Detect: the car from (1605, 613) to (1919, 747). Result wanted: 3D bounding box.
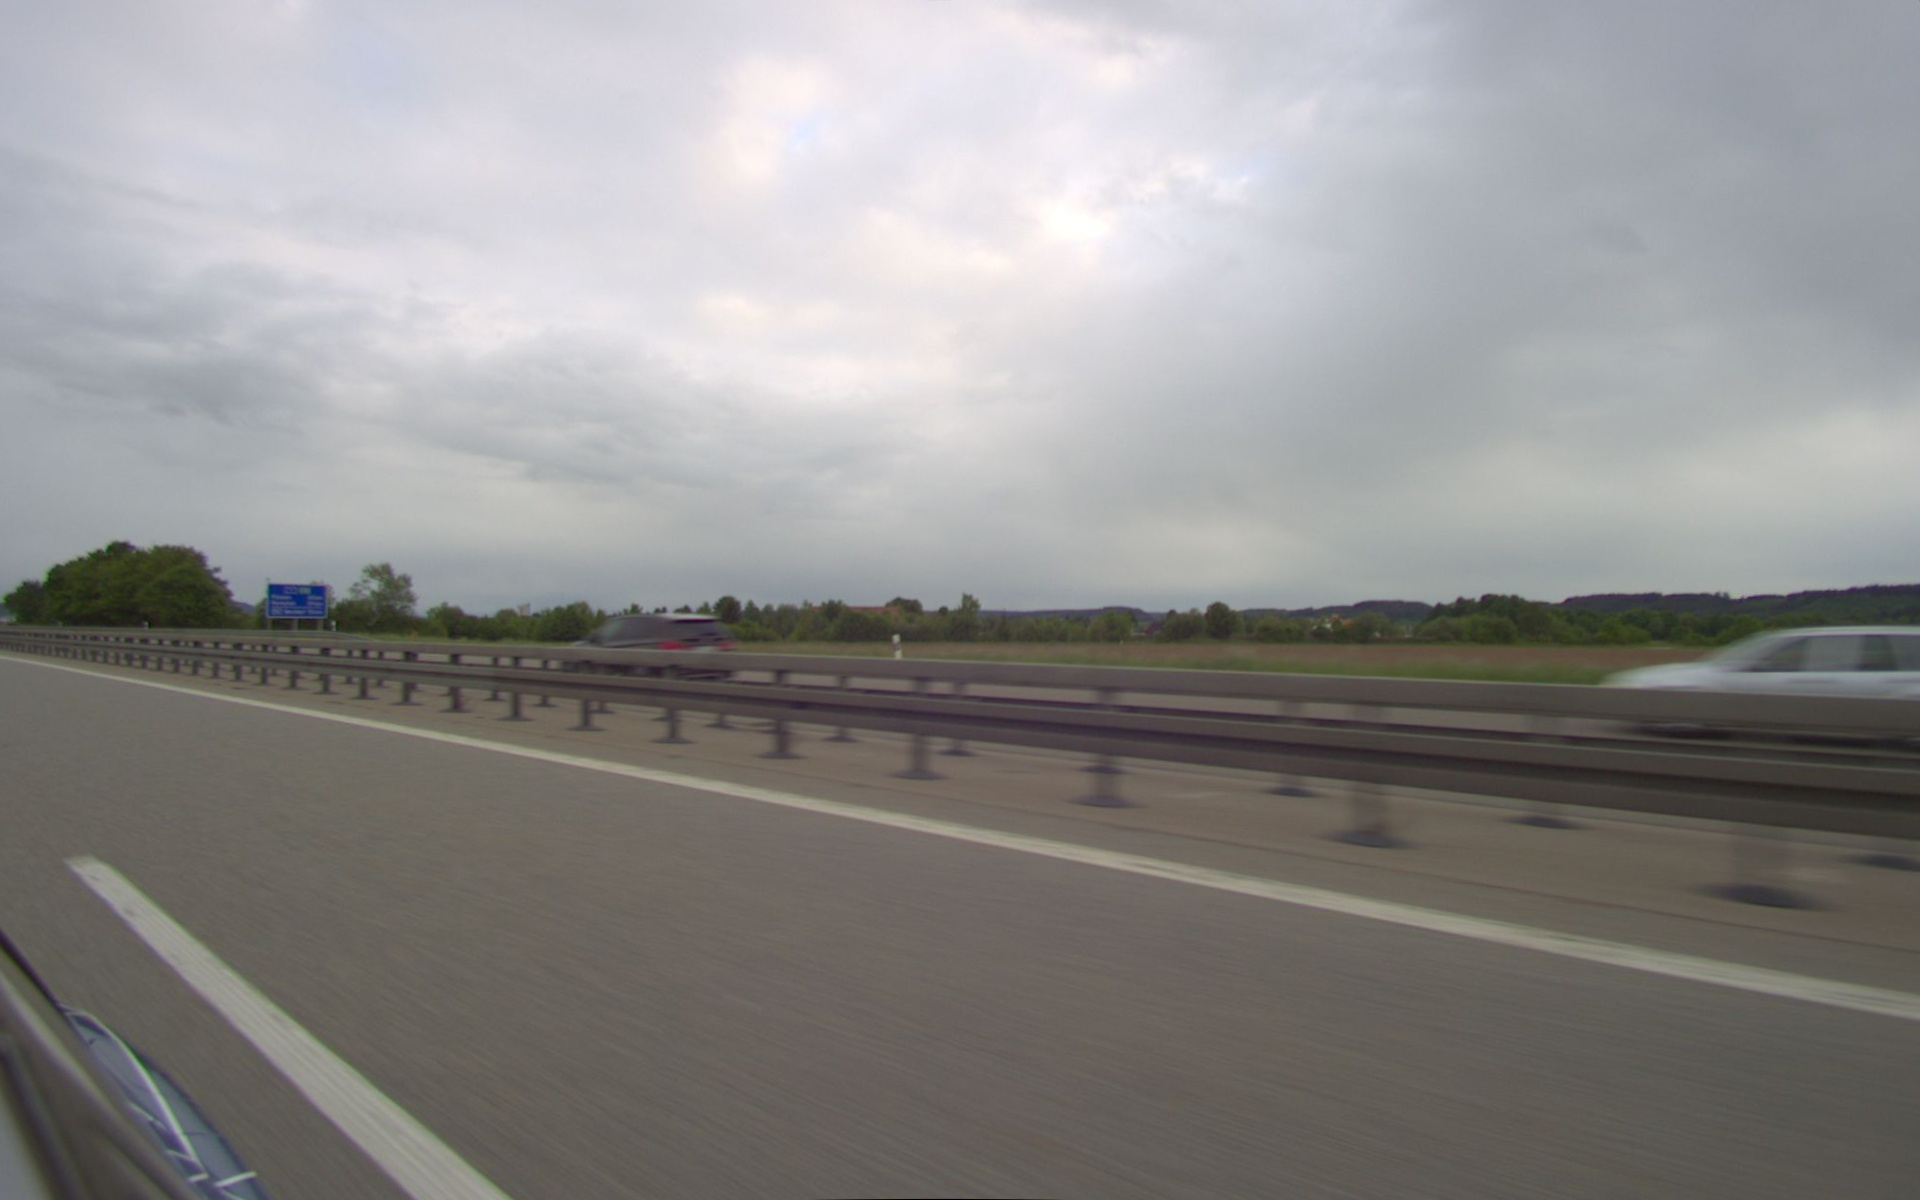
[{"bbox_3d":[11.000,0.928,12.621,4.759,1.507,1.973,-1,-1,40],"label":"car"}]

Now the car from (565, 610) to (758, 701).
[{"bbox_3d":[-6.474,1.106,21.730,4.299,1.713,1.973,-1,0,41],"label":"car"}]
